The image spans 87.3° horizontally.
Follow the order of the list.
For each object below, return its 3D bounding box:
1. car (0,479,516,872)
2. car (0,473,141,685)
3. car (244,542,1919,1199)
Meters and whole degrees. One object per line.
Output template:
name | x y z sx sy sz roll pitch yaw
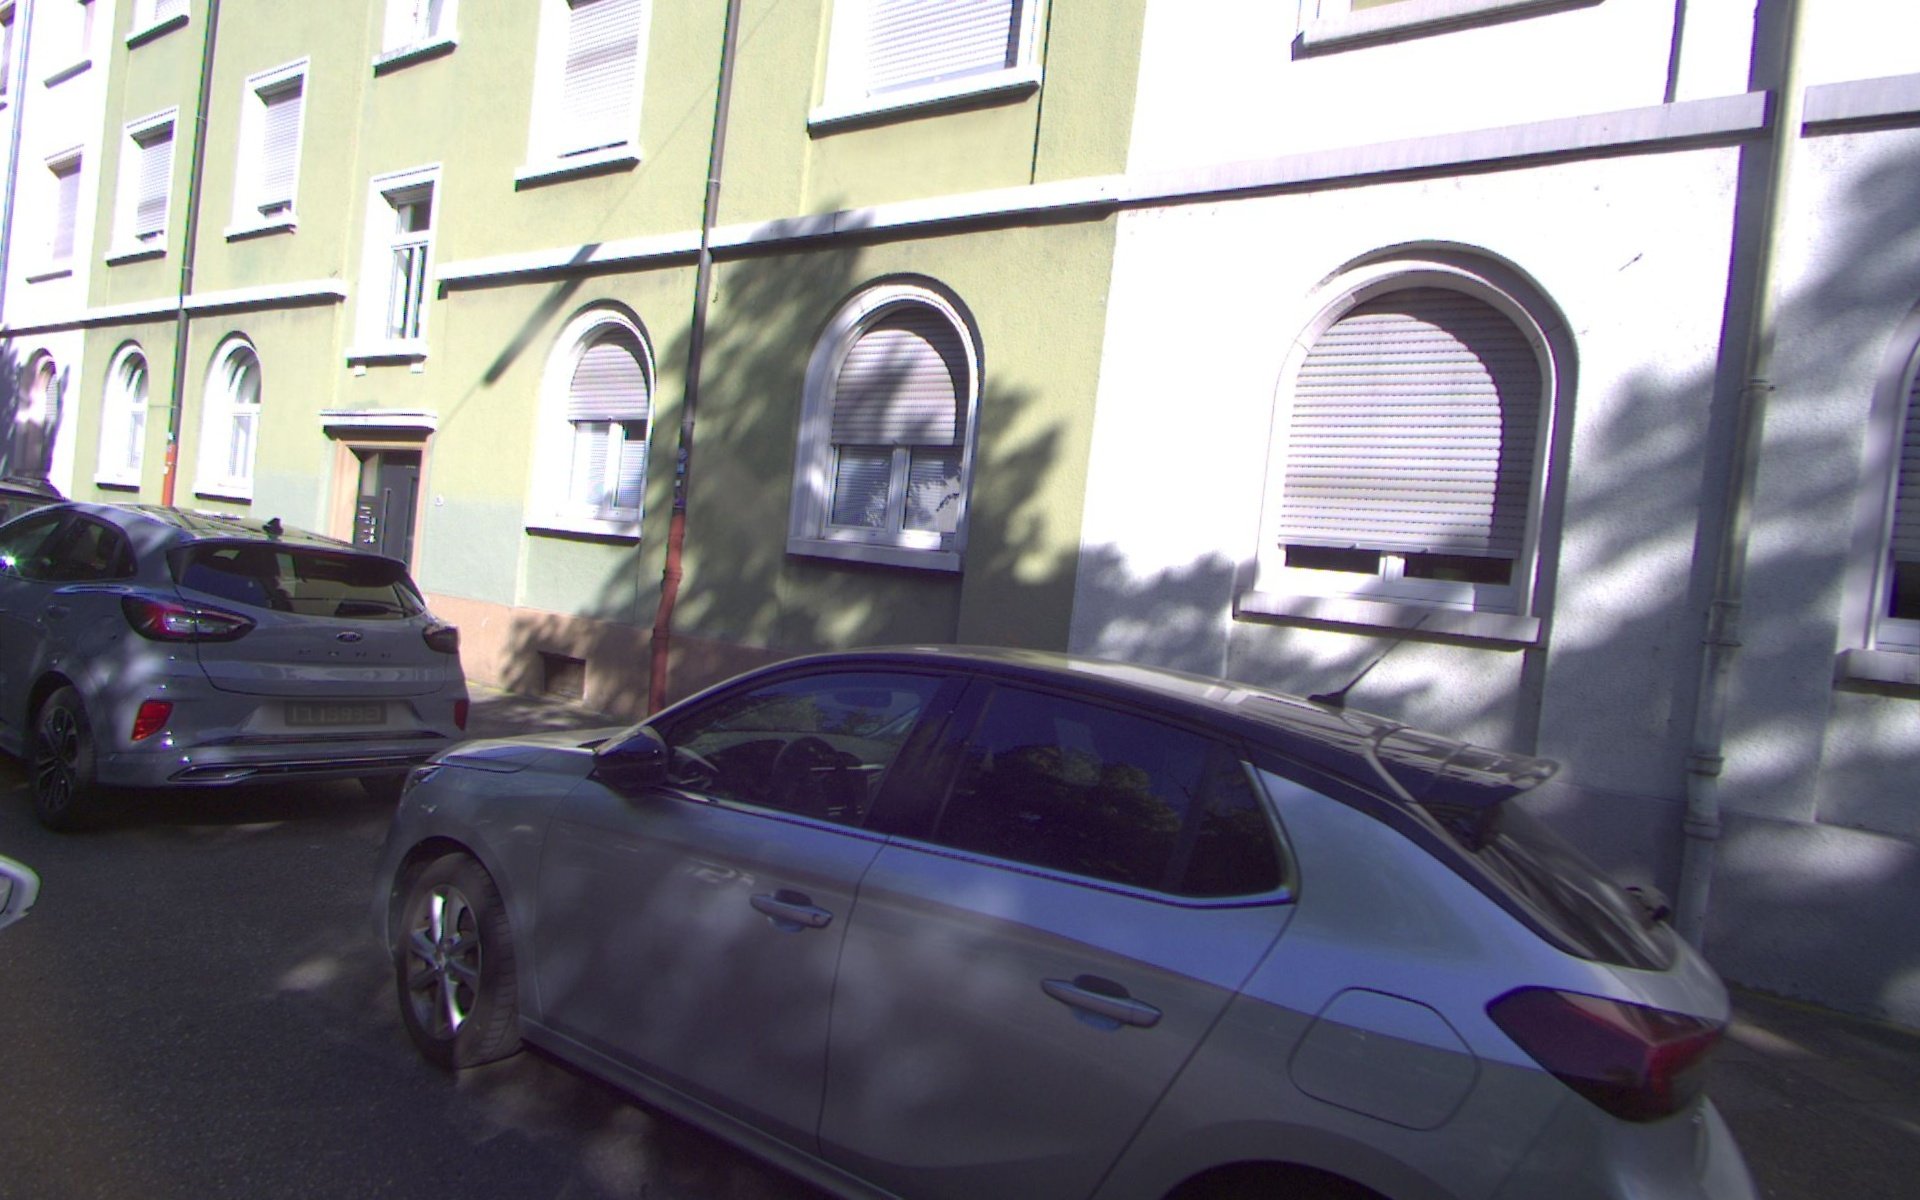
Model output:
car | -4.738 0.191 5.872 4.087 1.547 1.725 7 0 30
car | -9.103 -0.370 8.612 4.086 1.616 1.725 7 0 28
car | -0.159 0.793 3.047 4.089 1.450 1.724 7 0 31
